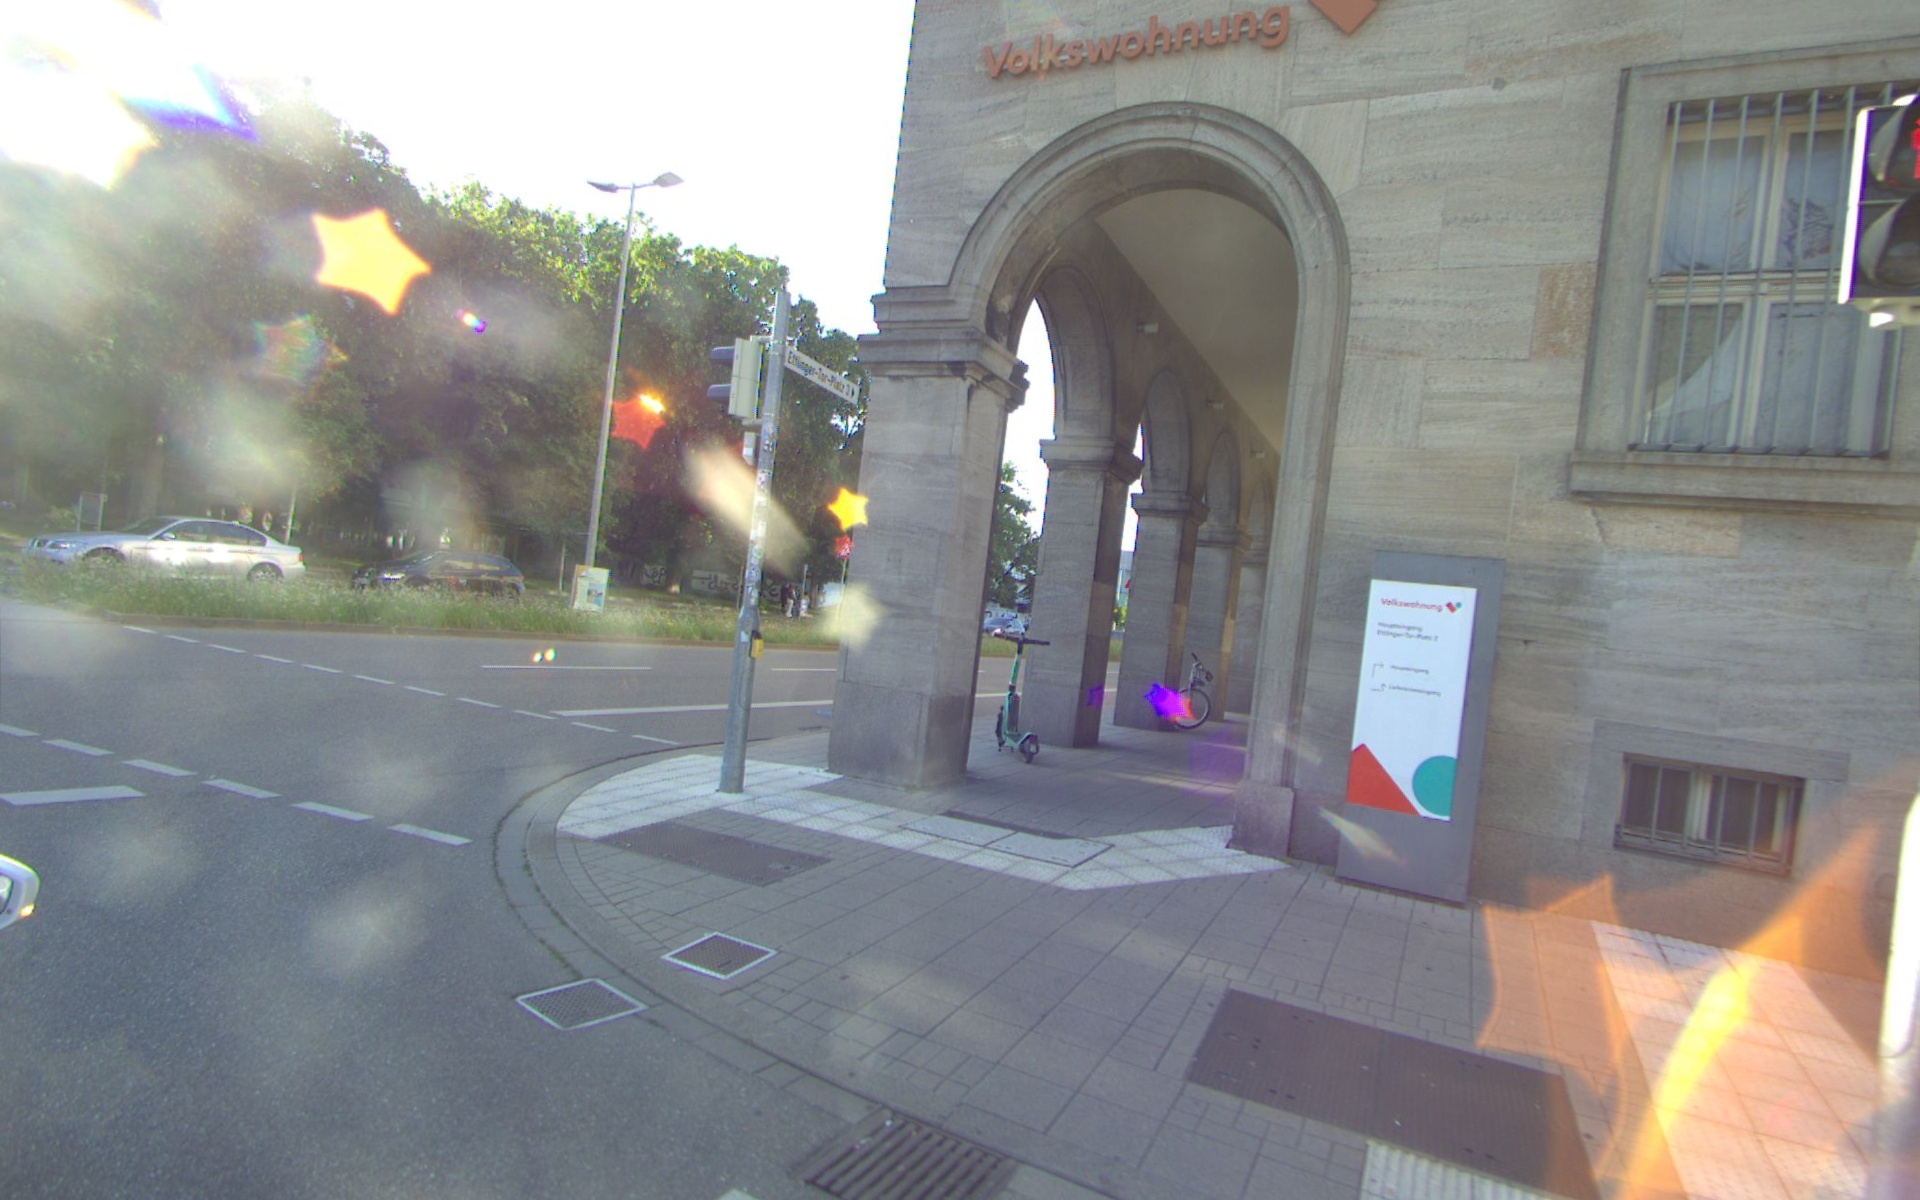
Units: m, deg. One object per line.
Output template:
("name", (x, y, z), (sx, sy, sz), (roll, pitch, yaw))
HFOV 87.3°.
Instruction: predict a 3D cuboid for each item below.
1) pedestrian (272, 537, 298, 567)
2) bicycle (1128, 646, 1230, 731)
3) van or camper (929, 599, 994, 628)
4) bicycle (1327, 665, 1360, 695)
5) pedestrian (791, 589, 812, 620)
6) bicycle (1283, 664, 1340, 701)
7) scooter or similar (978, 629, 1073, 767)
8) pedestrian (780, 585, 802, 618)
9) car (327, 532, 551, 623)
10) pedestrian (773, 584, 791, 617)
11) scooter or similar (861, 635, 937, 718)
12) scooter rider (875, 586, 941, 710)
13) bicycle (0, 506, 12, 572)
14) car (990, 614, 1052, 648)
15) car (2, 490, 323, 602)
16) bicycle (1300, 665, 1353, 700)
("pedestrian", (-34.651, -2.463, 51.640), (0.815, 1.356, 0.715), (7, 1, 30))
("bicycle", (3.456, 1.386, 16.055), (0.655, 1.147, 1.705), (5, -1, -22))
("van or camper", (0.145, 1.318, 96.008), (5.584, 2.037, 2.256), (6, -2, 29))
("bicycle", (14.871, 3.121, 39.005), (1.702, 1.063, 0.466), (6, -1, -44))
("pedestrian", (-8.924, 0.270, 56.700), (0.732, 1.661, 0.725), (7, 1, 31))
("bicycle", (11.837, 2.770, 33.877), (1.680, 1.063, 0.528), (5, 0, 13))
("scooter or similar", (0.620, 0.933, 9.997), (0.630, 1.238, 1.264), (4, -1, -7))
("pedestrian", (-9.577, 0.087, 57.030), (0.761, 1.762, 0.759), (7, 1, 31))
("car", (-12.852, -0.491, 25.143), (1.965, 1.696, 4.544), (7, -1, 27))
("pedestrian", (-10.154, 0.035, 57.366), (0.517, 1.762, 0.653), (7, 1, 31))
("scooter or similar", (-0.840, 1.056, 14.057), (0.547, 1.044, 1.117), (7, 0, 20))
("scooter rider", (-0.728, 0.674, 14.230), (0.552, 1.652, 0.650), (7, 0, 20))
("bicycle", (-19.398, -1.292, 18.851), (0.767, 1.255, 2.238), (6, -1, 42))
("car", (3.574, 1.830, 58.012), (1.965, 1.583, 4.056), (7, -1, 27))
("car", (-15.726, -1.000, 20.153), (1.965, 1.579, 4.544), (7, -1, 27))
("bicycle", (12.925, 2.895, 35.477), (1.688, 1.063, 0.609), (6, -1, -20))
